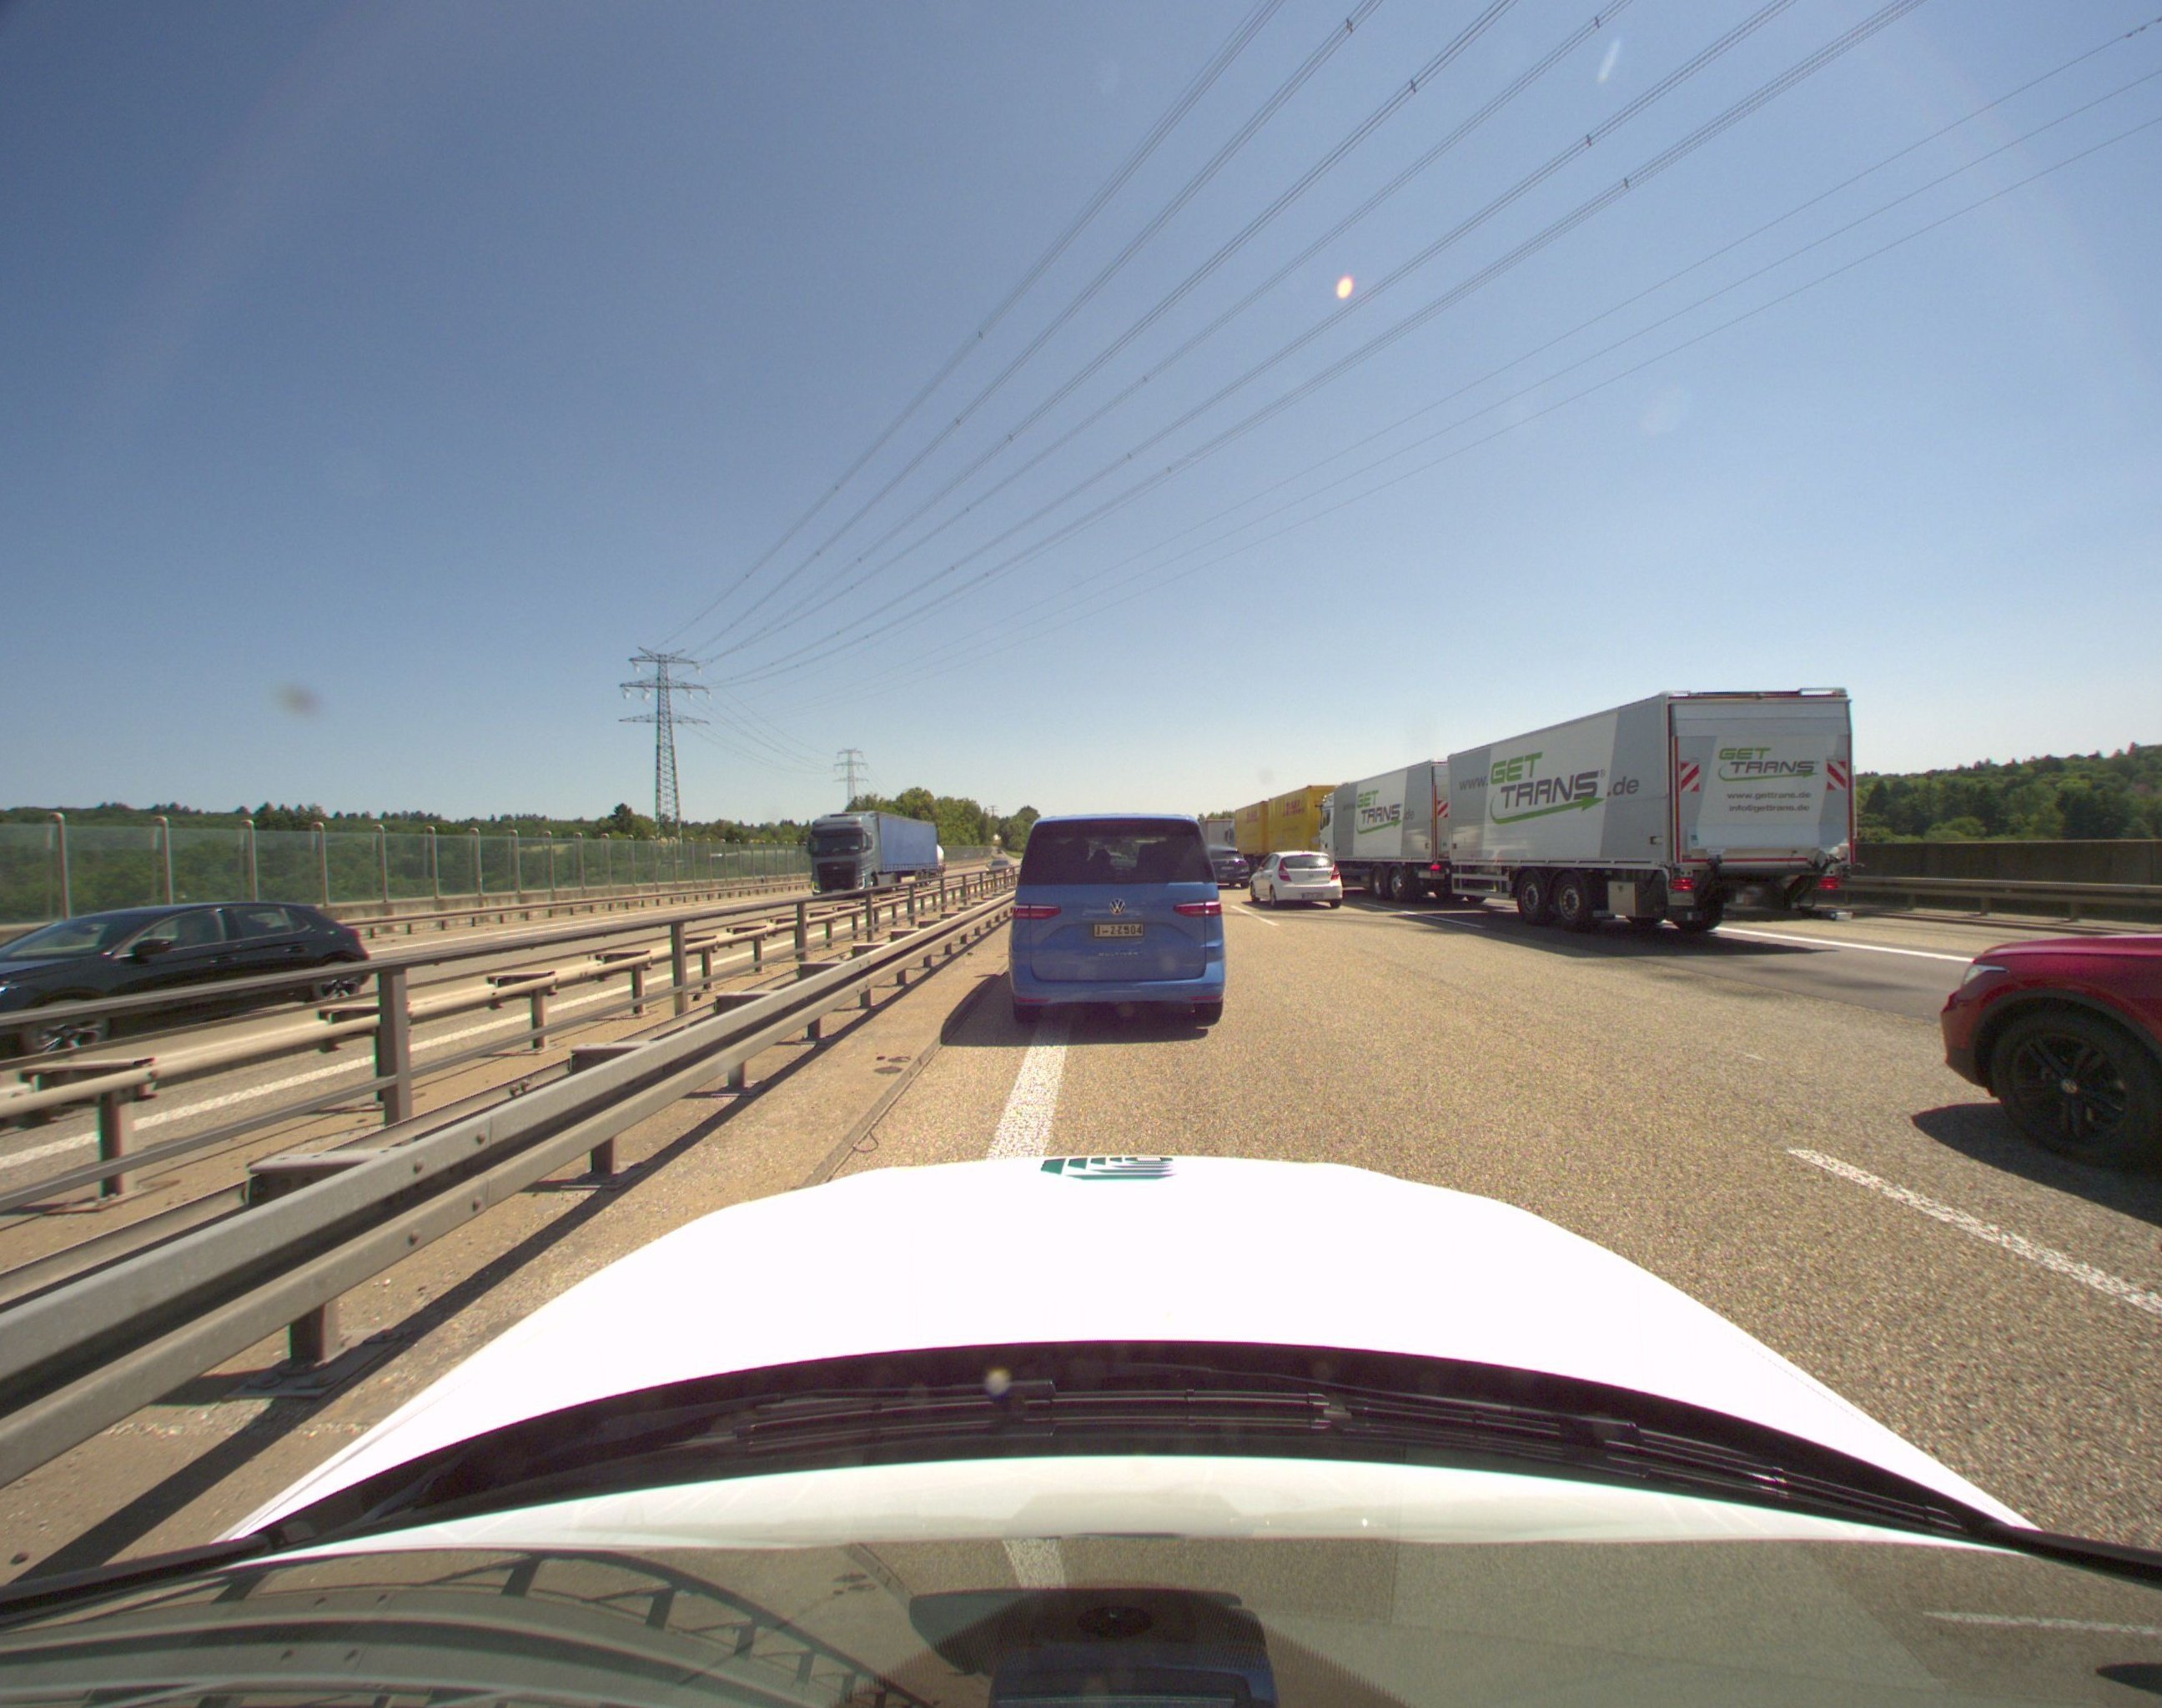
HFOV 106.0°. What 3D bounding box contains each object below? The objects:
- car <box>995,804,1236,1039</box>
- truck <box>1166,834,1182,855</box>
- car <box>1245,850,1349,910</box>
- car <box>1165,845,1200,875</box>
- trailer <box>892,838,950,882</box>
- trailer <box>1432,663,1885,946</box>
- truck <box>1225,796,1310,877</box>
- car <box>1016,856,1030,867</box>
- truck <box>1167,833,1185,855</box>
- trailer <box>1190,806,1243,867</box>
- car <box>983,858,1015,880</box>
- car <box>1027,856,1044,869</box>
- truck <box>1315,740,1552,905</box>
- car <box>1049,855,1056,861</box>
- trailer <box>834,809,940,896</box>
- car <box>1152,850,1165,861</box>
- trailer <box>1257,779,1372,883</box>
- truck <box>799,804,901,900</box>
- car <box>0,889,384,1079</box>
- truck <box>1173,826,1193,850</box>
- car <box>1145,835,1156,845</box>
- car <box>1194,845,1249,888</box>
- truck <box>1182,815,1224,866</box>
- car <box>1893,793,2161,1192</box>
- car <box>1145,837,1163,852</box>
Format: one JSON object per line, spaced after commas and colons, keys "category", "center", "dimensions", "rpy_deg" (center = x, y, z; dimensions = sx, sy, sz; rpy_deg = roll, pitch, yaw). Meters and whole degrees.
{"category": "car", "center": [0.340, 0.557, 8.535], "dimensions": [1.923, 1.874, 4.001], "rpy_deg": [0, -1, 2]}
{"category": "truck", "center": [11.836, -1.188, 103.864], "dimensions": [1.790, 2.596, 4.307], "rpy_deg": [0, -1, 2]}
{"category": "car", "center": [5.751, 0.661, 22.157], "dimensions": [1.809, 1.470, 3.931], "rpy_deg": [0, -1, 0]}
{"category": "car", "center": [6.797, 0.390, 54.941], "dimensions": [1.955, 1.936, 3.933], "rpy_deg": [0, -1, 2]}
{"category": "trailer", "center": [-14.161, 0.552, 72.977], "dimensions": [2.489, 3.540, 10.909], "rpy_deg": [-3, -1, 2]}
{"category": "trailer", "center": [9.751, -0.650, 15.383], "dimensions": [2.888, 3.891, 8.217], "rpy_deg": [0, -1, 2]}
{"category": "truck", "center": [10.297, -0.837, 46.087], "dimensions": [2.690, 4.088, 9.940], "rpy_deg": [0, -1, 1]}
{"category": "car", "center": [-9.490, 1.223, 132.847], "dimensions": [1.800, 1.640, 4.000], "rpy_deg": [-4, -1, 1]}
{"category": "truck", "center": [11.511, -1.196, 98.949], "dimensions": [1.735, 2.549, 4.212], "rpy_deg": [0, -1, 2]}
{"category": "trailer", "center": [11.013, -1.256, 67.300], "dimensions": [3.014, 4.611, 10.930], "rpy_deg": [0, -1, 2]}
{"category": "car", "center": [-6.157, 1.101, 61.559], "dimensions": [1.875, 1.552, 4.189], "rpy_deg": [0, -1, 0]}
{"category": "car", "center": [-5.726, 1.101, 102.123], "dimensions": [1.875, 1.552, 4.189], "rpy_deg": [0, -1, 0]}
{"category": "truck", "center": [9.968, -0.708, 24.811], "dimensions": [2.841, 3.934, 10.613], "rpy_deg": [0, -1, 2]}
{"category": "car", "center": [-8.625, 1.171, 246.290], "dimensions": [1.833, 1.822, 4.748], "rpy_deg": [-3, -1, 1]}
{"category": "trailer", "center": [-10.637, -0.037, 46.303], "dimensions": [2.695, 4.165, 12.053], "rpy_deg": [-3, -1, 1]}
{"category": "car", "center": [12.476, 0.202, 131.222], "dimensions": [1.790, 1.751, 3.945], "rpy_deg": [0, -1, 2]}
{"category": "trailer", "center": [10.198, -0.891, 36.648], "dimensions": [2.673, 4.088, 8.980], "rpy_deg": [0, -1, 1]}
{"category": "truck", "center": [-10.818, -0.062, 38.861], "dimensions": [2.743, 4.116, 6.267], "rpy_deg": [-2, -1, 2]}
{"category": "car", "center": [-10.149, 1.244, 8.799], "dimensions": [1.791, 1.498, 3.853], "rpy_deg": [-3, -1, 2]}
{"category": "truck", "center": [11.210, -1.716, 89.965], "dimensions": [1.791, 2.449, 4.506], "rpy_deg": [0, -1, 2]}
{"category": "car", "center": [12.490, -2.521, 146.609], "dimensions": [1.790, 1.751, 3.945], "rpy_deg": [0, -1, 2]}
{"category": "car", "center": [5.761, 0.517, 33.796], "dimensions": [1.807, 1.679, 3.935], "rpy_deg": [0, -1, 3]}
{"category": "truck", "center": [11.402, -1.176, 76.732], "dimensions": [3.014, 4.611, 7.925], "rpy_deg": [0, -1, 2]}
{"category": "car", "center": [5.347, 0.573, 2.435], "dimensions": [1.701, 1.679, 4.288], "rpy_deg": [0, -1, 3]}
{"category": "car", "center": [8.535, -1.080, 95.490], "dimensions": [1.912, 1.706, 4.001], "rpy_deg": [0, -1, 2]}
